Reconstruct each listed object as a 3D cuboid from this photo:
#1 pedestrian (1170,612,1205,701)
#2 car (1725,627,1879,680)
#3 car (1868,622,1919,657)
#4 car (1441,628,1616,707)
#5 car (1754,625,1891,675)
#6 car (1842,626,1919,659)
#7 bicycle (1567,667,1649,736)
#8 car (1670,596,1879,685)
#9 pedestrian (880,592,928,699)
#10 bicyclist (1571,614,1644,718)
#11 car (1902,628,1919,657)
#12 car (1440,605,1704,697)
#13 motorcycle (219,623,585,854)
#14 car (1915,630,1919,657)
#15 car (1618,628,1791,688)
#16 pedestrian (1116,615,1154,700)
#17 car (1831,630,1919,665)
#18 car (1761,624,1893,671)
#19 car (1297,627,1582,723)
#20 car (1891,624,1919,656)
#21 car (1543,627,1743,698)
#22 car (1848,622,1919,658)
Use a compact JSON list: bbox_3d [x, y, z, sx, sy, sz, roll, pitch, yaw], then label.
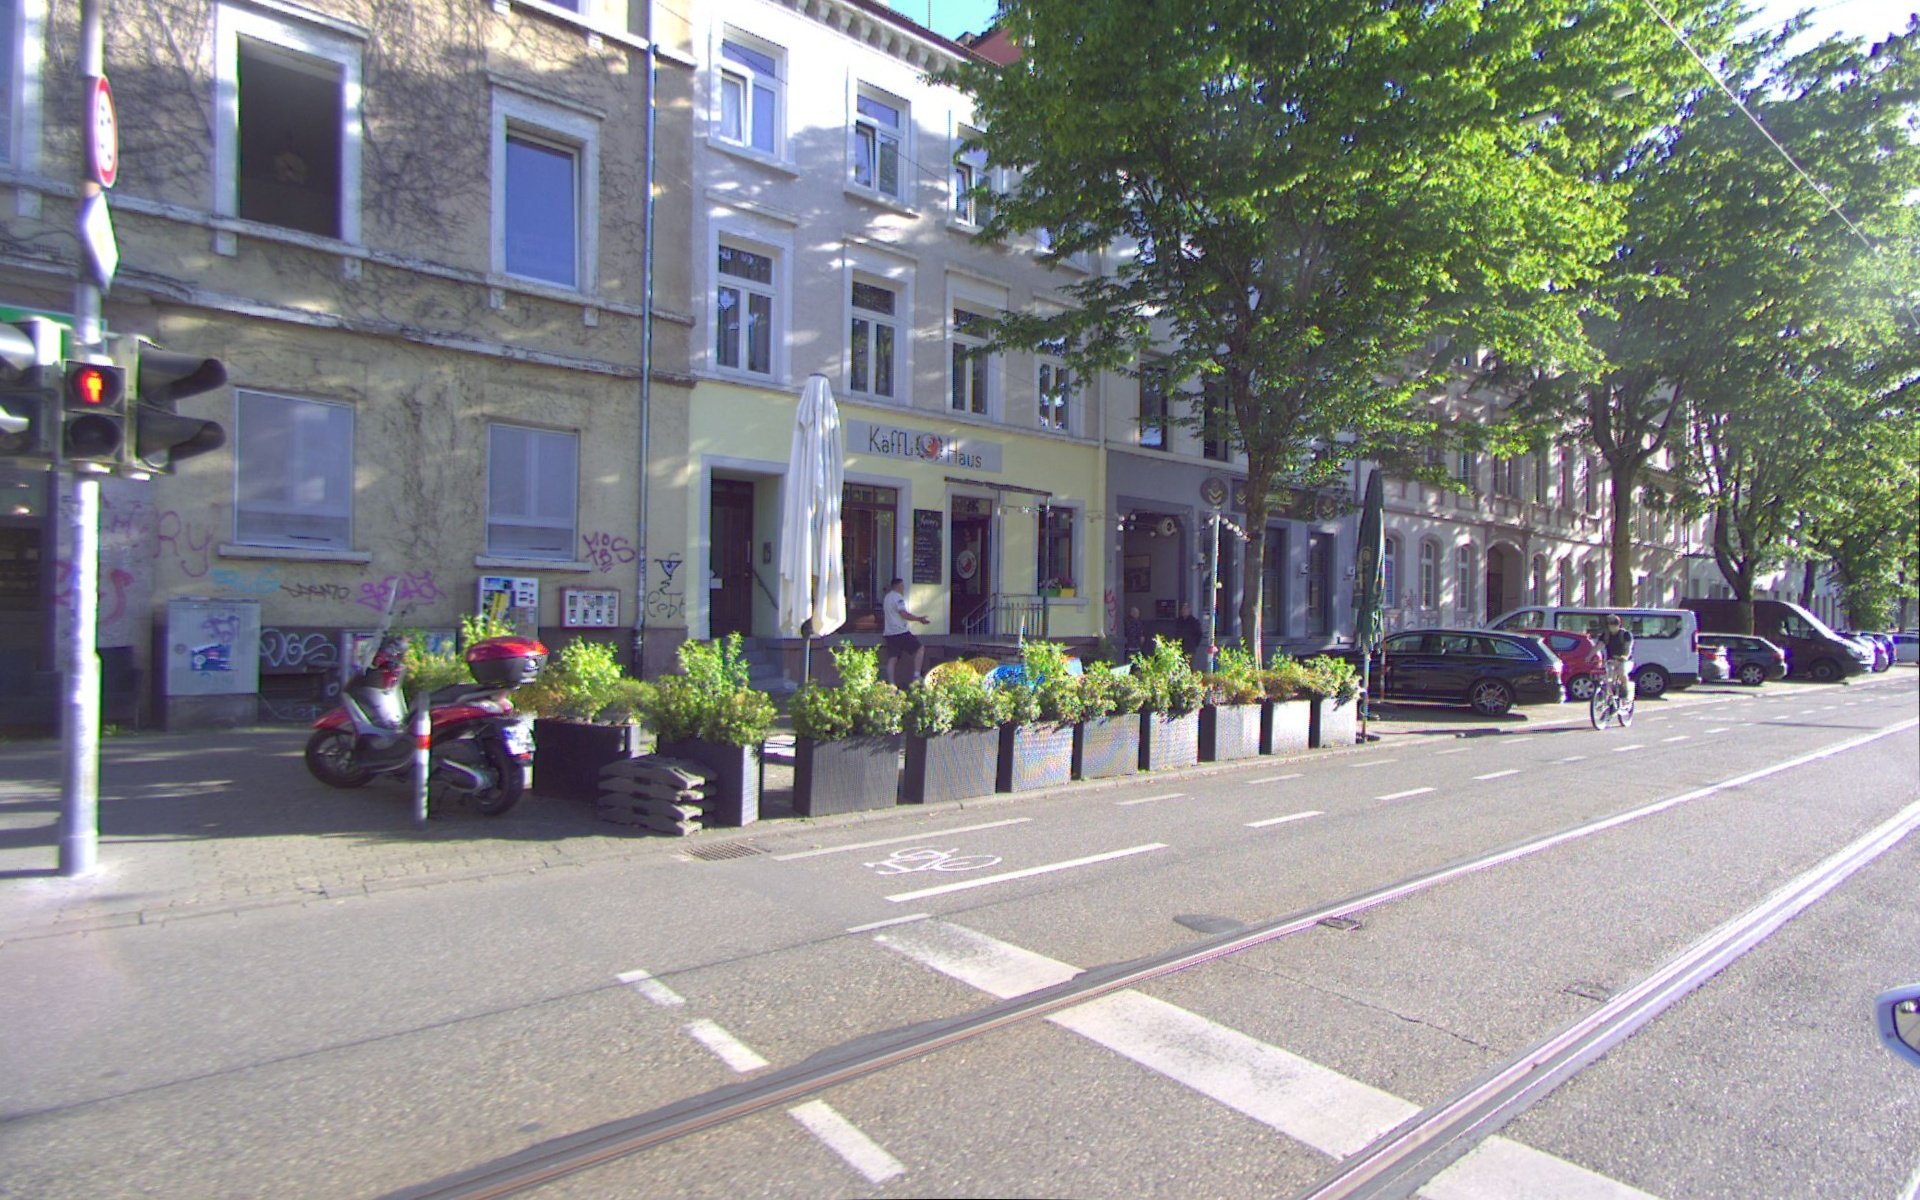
[{"bbox_3d":[4.561,1.126,20.128,0.497,1.737,0.538,-1,-2,37],"label":"pedestrian"},{"bbox_3d":[29.746,1.836,35.547,4.044,1.629,1.817,1,-1,44],"label":"car"},{"bbox_3d":[52.877,2.228,55.173,4.026,1.777,1.825,3,1,30],"label":"car"},{"bbox_3d":[12.575,1.439,22.325,3.266,1.523,1.685,0,1,31],"label":"car"},{"bbox_3d":[34.585,1.968,40.334,4.044,1.629,1.817,4,1,44],"label":"car"},{"bbox_3d":[48.692,2.230,52.154,4.028,1.472,1.824,3,1,31],"label":"car"},{"bbox_3d":[10.357,1.590,16.030,1.868,0.965,0.605,2,-1,-41],"label":"bicycle"},{"bbox_3d":[27.510,1.293,34.077,2.229,2.612,5.133,2,1,-42],"label":"car"},{"bbox_3d":[-0.895,0.722,16.005,0.566,1.664,0.533,1,-2,-41],"label":"pedestrian"},{"bbox_3d":[10.308,1.023,15.983,1.020,1.593,0.718,1,-1,-40],"label":"bicyclist"},{"bbox_3d":[60.825,2.719,61.629,4.026,1.777,1.825,3,1,30],"label":"car"},{"bbox_3d":[14.520,1.145,24.253,5.249,2.018,2.036,0,-1,28],"label":"car"},{"bbox_3d":[-4.084,0.917,7.370,2.374,1.369,1.000,3,-1,21],"label":"motorcycle"},{"bbox_3d":[64.455,2.923,64.540,4.026,1.777,1.825,3,1,30],"label":"car"},{"bbox_3d":[22.404,1.712,30.421,4.031,1.438,1.823,3,1,35],"label":"car"},{"bbox_3d":[3.518,1.149,20.202,0.566,1.664,0.533,1,-2,-41],"label":"pedestrian"},{"bbox_3d":[45.331,2.326,48.928,4.028,1.472,1.824,3,1,31],"label":"car"},{"bbox_3d":[36.341,1.940,42.174,4.044,1.629,1.817,4,1,44],"label":"car"},{"bbox_3d":[8.748,1.302,18.574,4.560,1.510,1.686,0,-1,29],"label":"car"},{"bbox_3d":[56.052,2.381,57.241,4.026,1.777,1.825,3,1,30],"label":"car"},{"bbox_3d":[17.743,1.561,26.196,4.042,1.438,1.818,4,1,43],"label":"car"},{"bbox_3d":[50.578,2.167,53.874,4.026,1.777,1.825,3,1,30],"label":"car"}]
